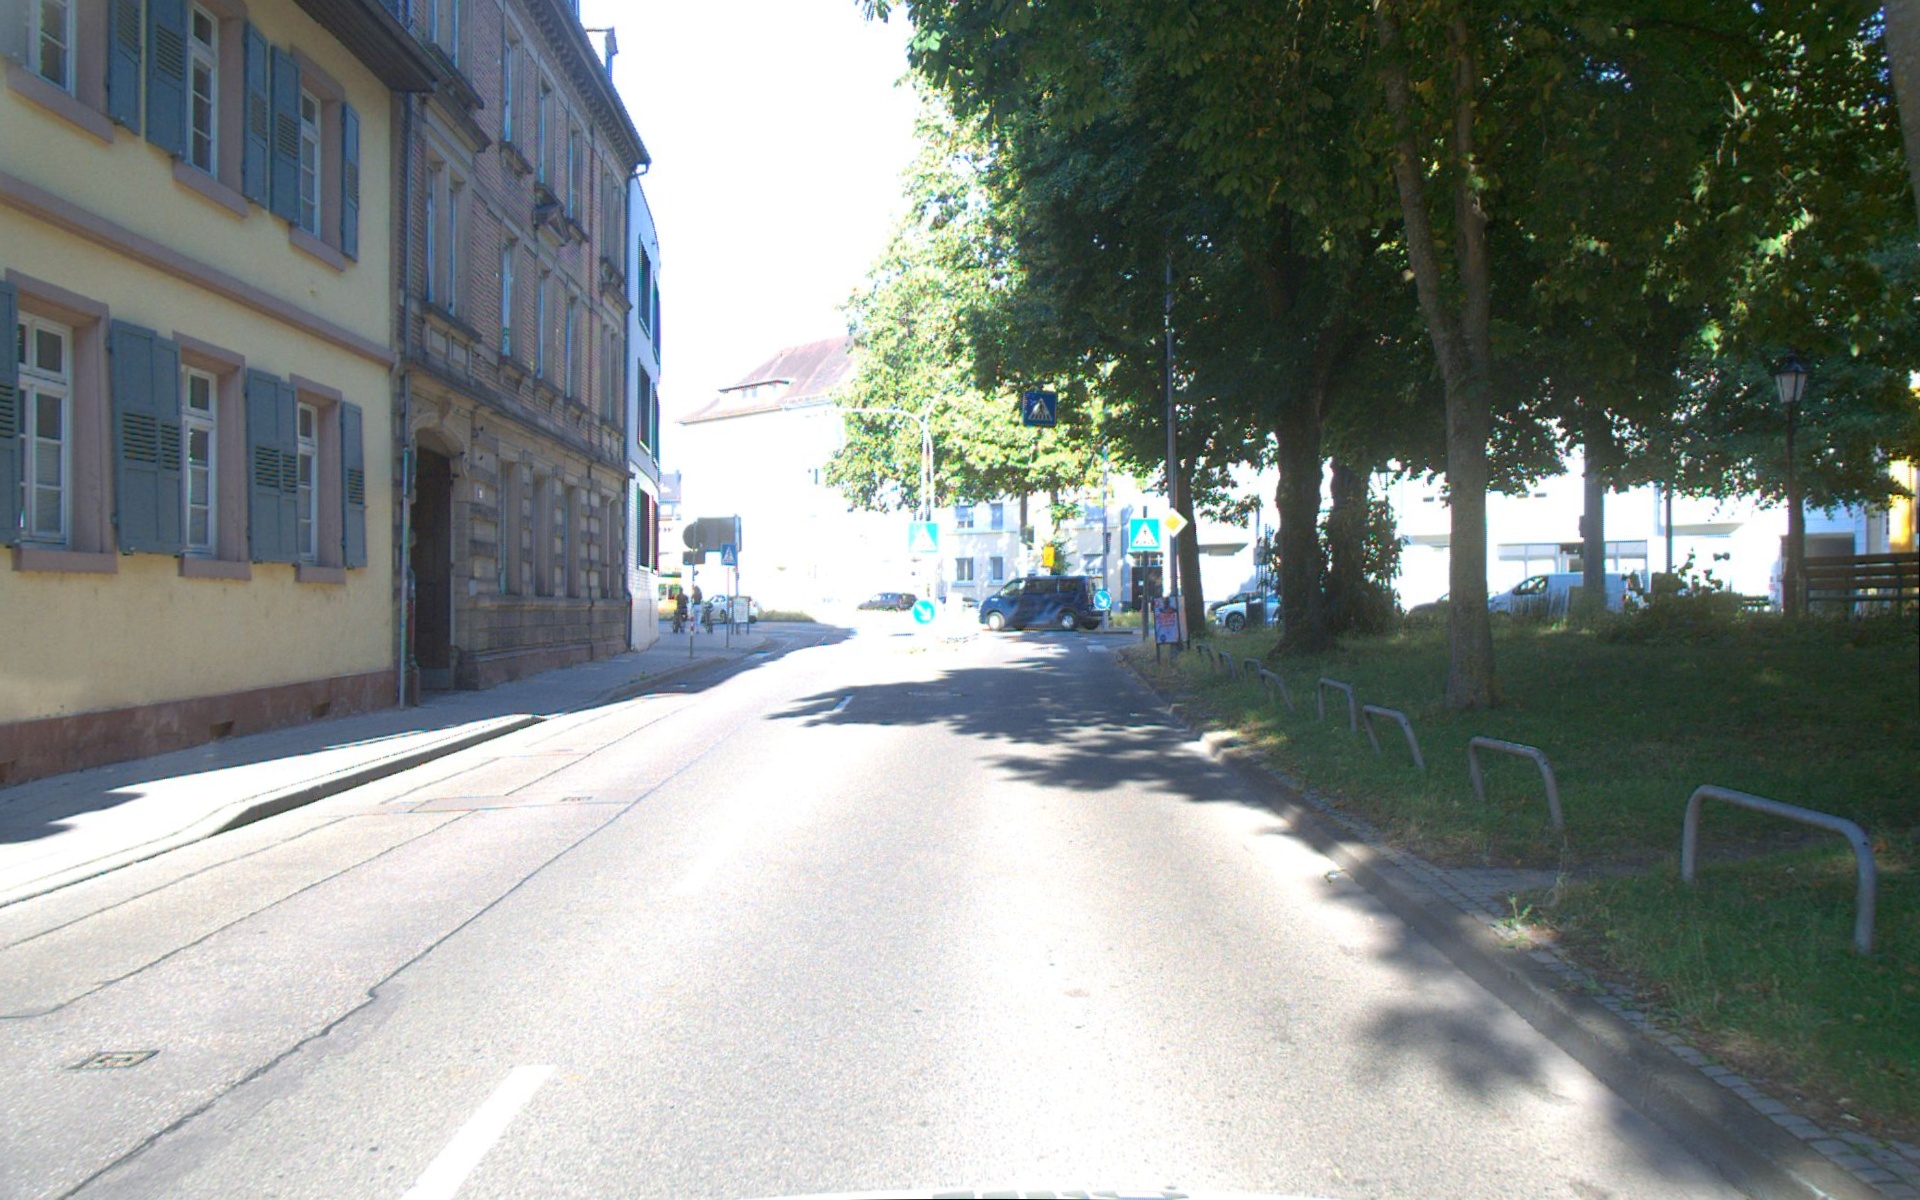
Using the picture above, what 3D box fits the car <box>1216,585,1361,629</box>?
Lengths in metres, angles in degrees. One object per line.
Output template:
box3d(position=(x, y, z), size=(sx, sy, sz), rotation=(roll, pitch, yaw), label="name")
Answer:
box3d(position=(11.368, 0.219, 57.271), size=(4.660, 1.489, 1.854), rotation=(0, 1, 23), label="car")

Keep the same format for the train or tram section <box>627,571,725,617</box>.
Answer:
box3d(position=(-23.097, -0.471, 135.074), size=(2.720, 3.618, 9.912), rotation=(0, 0, 25), label="train or tram section")

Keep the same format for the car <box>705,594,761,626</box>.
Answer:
box3d(position=(-11.334, 0.461, 82.495), size=(1.931, 1.531, 3.661), rotation=(-1, 1, -22), label="car")

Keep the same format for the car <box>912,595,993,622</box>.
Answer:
box3d(position=(-0.411, 0.433, 90.105), size=(1.985, 1.410, 4.374), rotation=(-1, 1, -44), label="car")

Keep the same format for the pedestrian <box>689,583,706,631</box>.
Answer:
box3d(position=(-9.208, 0.232, 57.953), size=(0.467, 1.676, 0.599), rotation=(-1, 0, -19), label="pedestrian")

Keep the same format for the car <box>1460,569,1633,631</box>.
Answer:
box3d(position=(18.416, -0.025, 52.028), size=(4.803, 1.886, 1.993), rotation=(0, 1, 35), label="car")

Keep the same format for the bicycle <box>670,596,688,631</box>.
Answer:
box3d(position=(-9.808, 0.454, 57.669), size=(0.370, 1.187, 1.828), rotation=(-2, 1, -17), label="bicycle")

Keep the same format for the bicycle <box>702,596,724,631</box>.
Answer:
box3d(position=(-8.663, 0.461, 57.986), size=(0.433, 1.199, 1.957), rotation=(1, 0, -18), label="bicycle")

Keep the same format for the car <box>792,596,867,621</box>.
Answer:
box3d(position=(-7.753, 0.513, 98.013), size=(4.368, 1.410, 1.988), rotation=(1, 1, 43), label="car")

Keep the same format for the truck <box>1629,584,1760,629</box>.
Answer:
box3d(position=(27.138, 0.209, 61.158), size=(1.985, 1.613, 4.031), rotation=(0, 1, -44), label="truck")

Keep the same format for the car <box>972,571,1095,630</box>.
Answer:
box3d(position=(2.610, 0.008, 59.112), size=(3.913, 2.049, 1.996), rotation=(1, 0, 31), label="car")

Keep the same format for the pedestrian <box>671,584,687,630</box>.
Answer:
box3d(position=(-9.856, 0.251, 57.977), size=(0.467, 1.592, 0.599), rotation=(0, 0, -19), label="pedestrian")

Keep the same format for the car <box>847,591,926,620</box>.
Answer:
box3d(position=(-4.219, 0.304, 94.229), size=(1.985, 1.599, 4.565), rotation=(-1, 0, -44), label="car")
